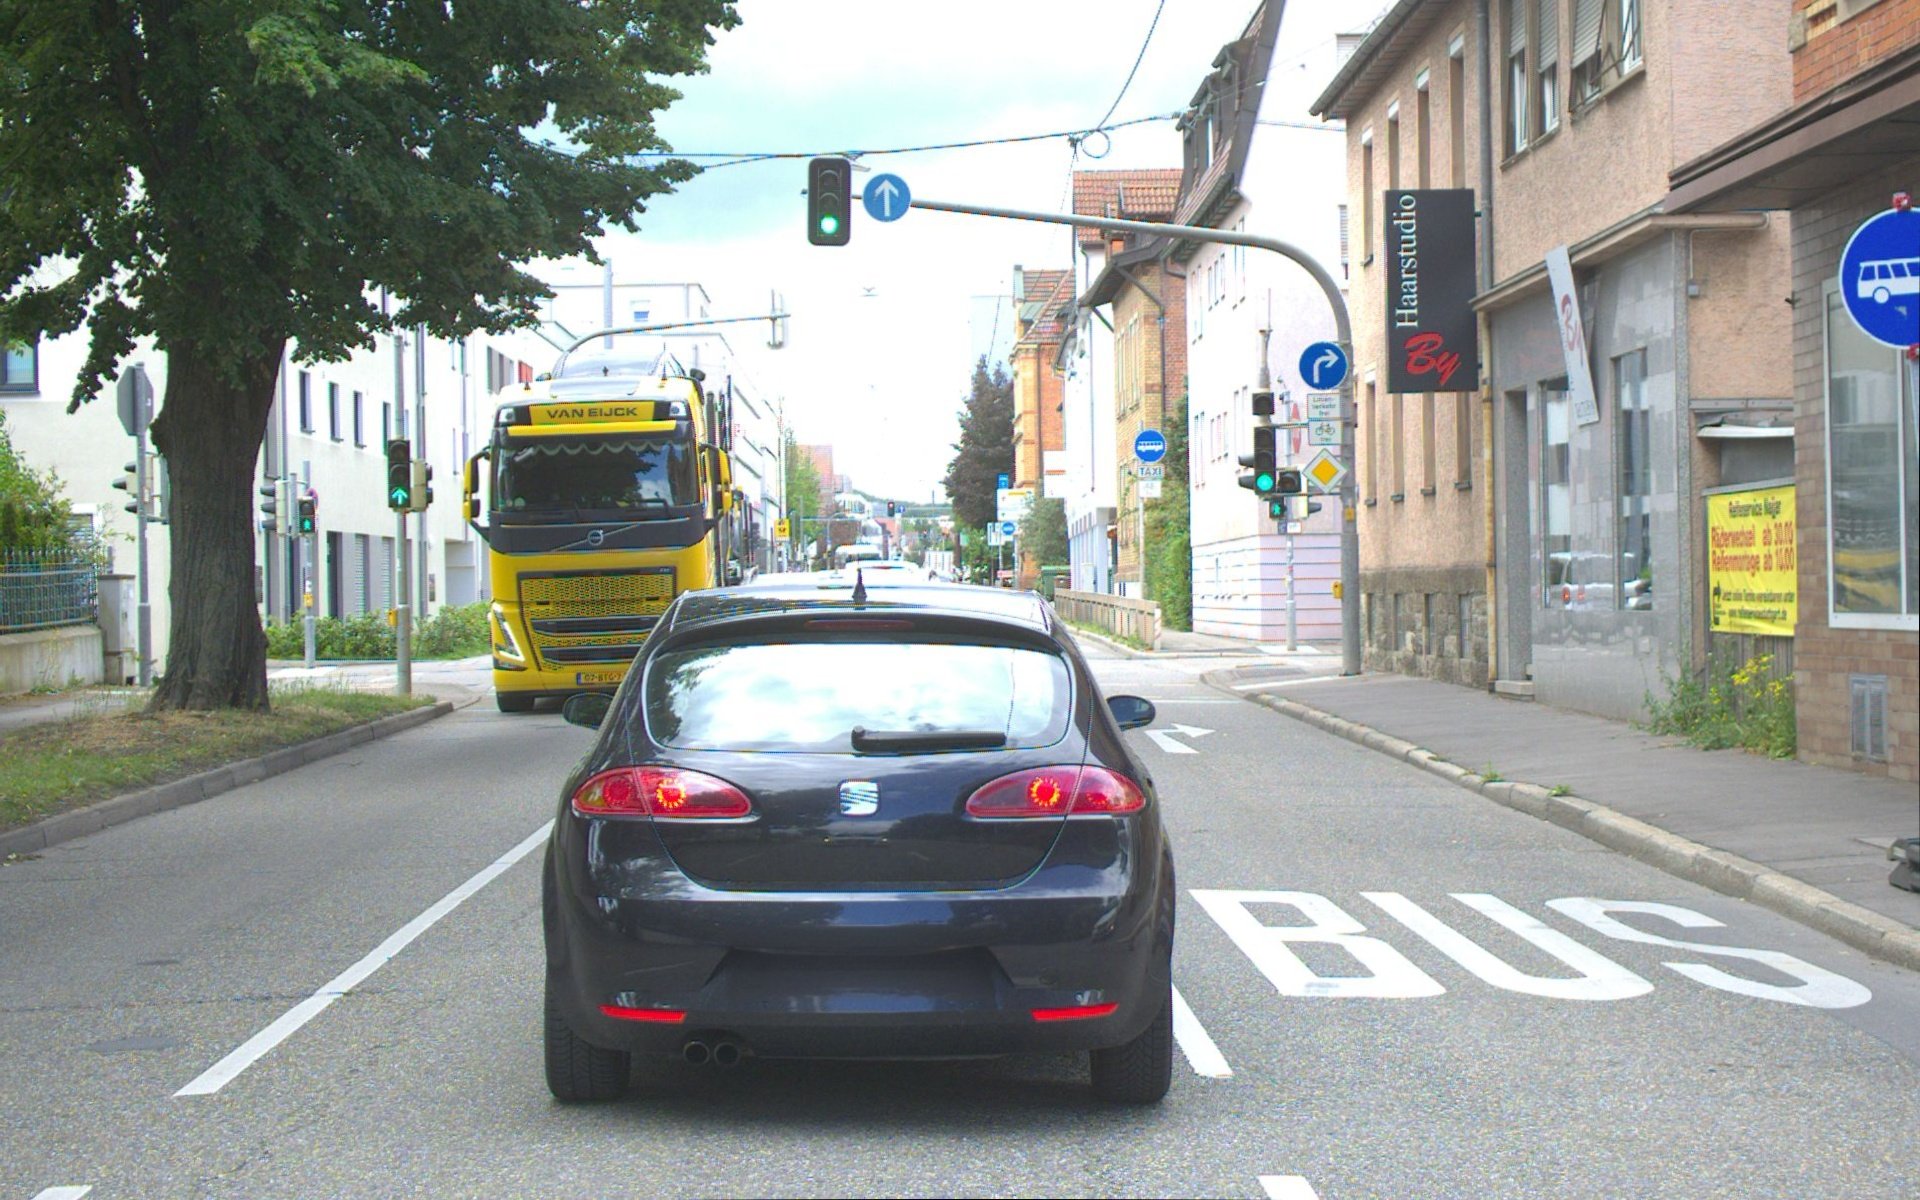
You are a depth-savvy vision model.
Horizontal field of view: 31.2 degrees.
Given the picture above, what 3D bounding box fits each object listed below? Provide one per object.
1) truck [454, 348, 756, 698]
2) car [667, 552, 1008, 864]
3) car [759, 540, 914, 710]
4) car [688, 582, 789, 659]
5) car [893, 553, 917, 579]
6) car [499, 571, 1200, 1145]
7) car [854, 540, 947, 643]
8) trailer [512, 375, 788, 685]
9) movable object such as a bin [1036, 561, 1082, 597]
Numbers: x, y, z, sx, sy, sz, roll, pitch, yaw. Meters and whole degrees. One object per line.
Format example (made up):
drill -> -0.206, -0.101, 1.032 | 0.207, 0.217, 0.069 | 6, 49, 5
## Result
truck -> -4.068, -0.838, 41.046 | 2.843, 3.769, 7.669 | 0, 0, 0
car -> -0.709, 0.582, 20.697 | 1.842, 1.687, 4.000 | 0, 0, -1
car -> -1.275, 0.246, 36.134 | 1.531, 1.687, 3.693 | 0, 0, -1
car -> -4.585, 0.409, 71.616 | 1.767, 1.465, 4.226 | -3, 0, 0
car -> -3.693, -2.281, 229.008 | 1.531, 1.687, 3.693 | -1, 1, -1
car -> -0.313, 0.648, 10.677 | 1.759, 1.437, 4.000 | 0, 0, -1
car -> -1.032, -0.145, 58.953 | 1.531, 1.687, 3.693 | 0, 0, -1
trailer -> -4.187, -0.878, 49.613 | 2.858, 3.795, 14.391 | 0, 0, -1
movable object such as a bin -> 4.038, -0.849, 140.129 | 1.818, 1.432, 1.993 | 0, 0, 0
